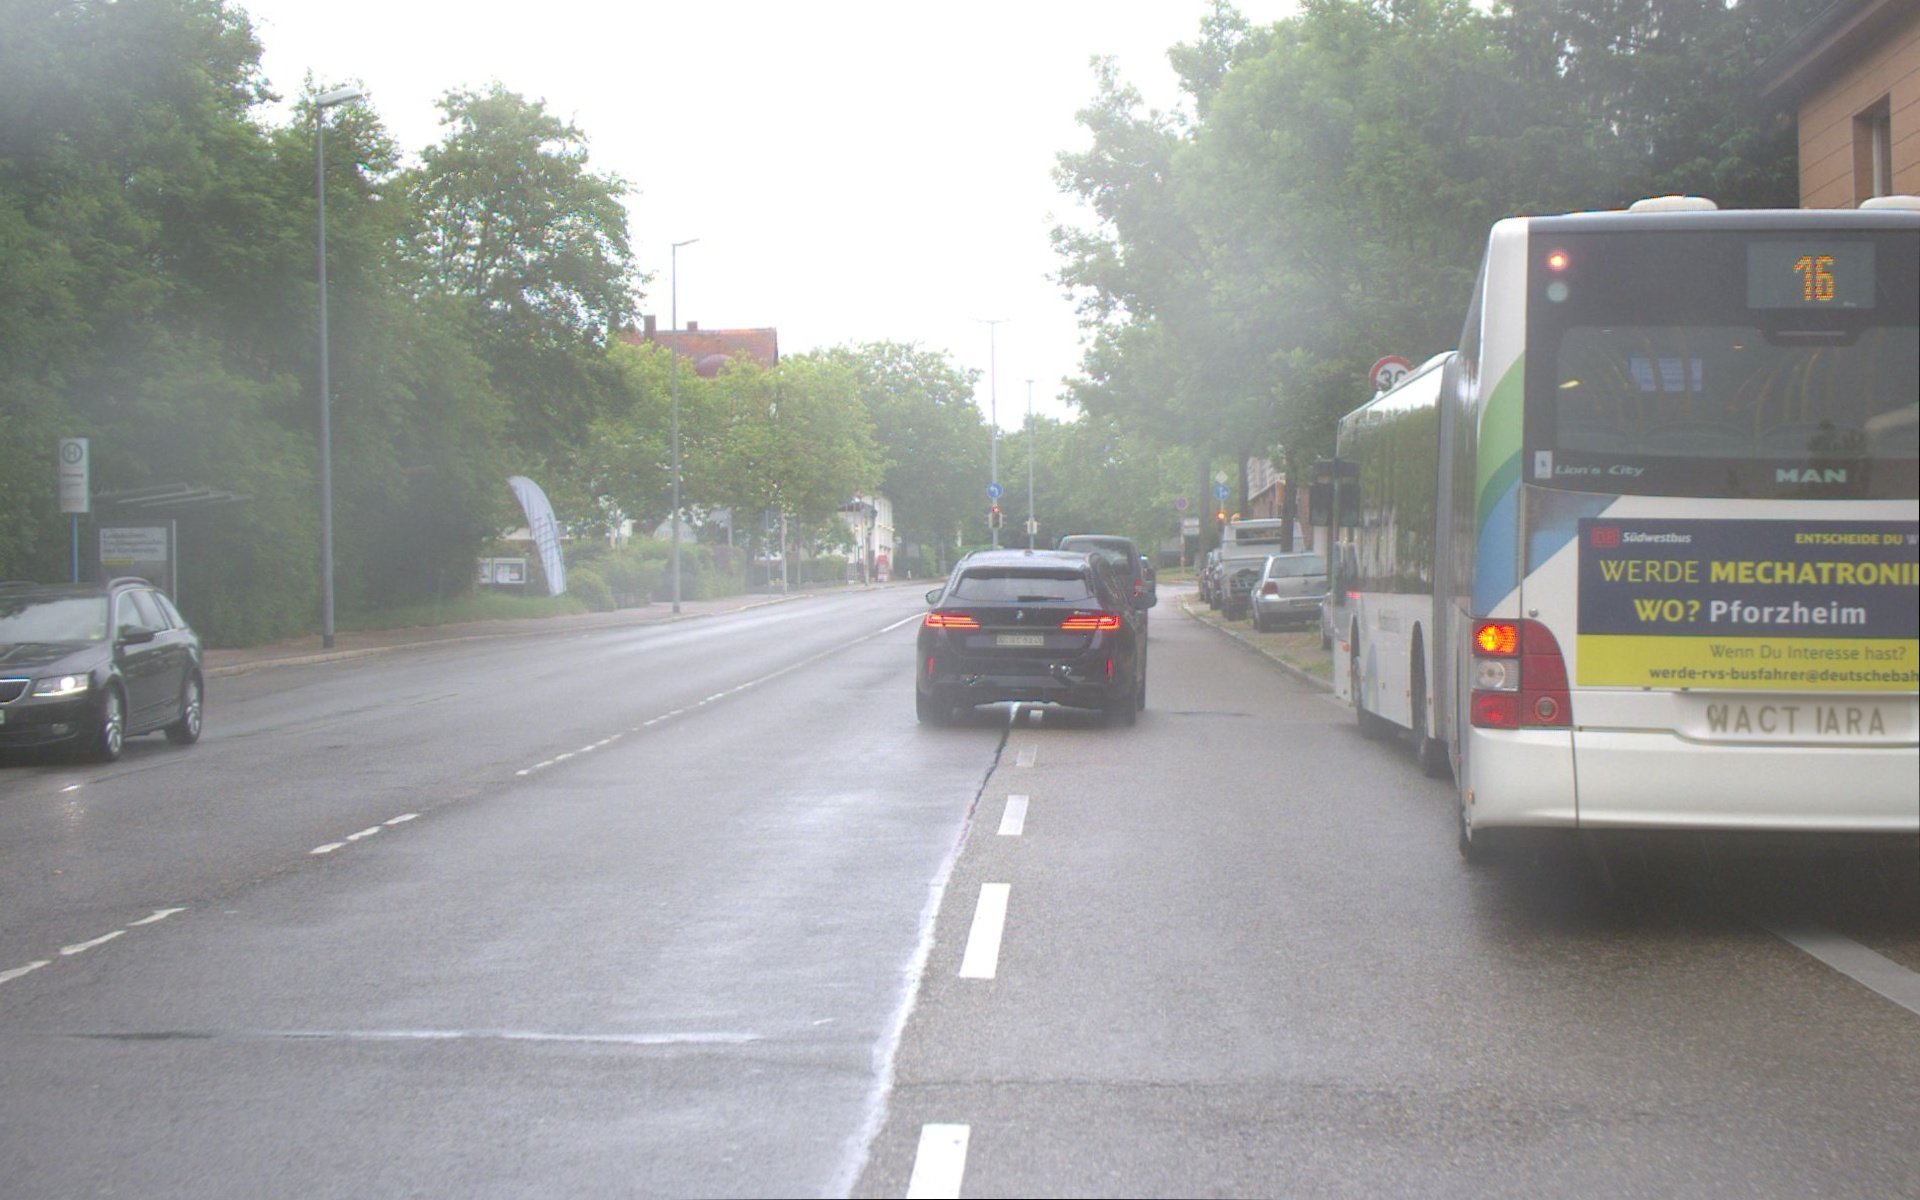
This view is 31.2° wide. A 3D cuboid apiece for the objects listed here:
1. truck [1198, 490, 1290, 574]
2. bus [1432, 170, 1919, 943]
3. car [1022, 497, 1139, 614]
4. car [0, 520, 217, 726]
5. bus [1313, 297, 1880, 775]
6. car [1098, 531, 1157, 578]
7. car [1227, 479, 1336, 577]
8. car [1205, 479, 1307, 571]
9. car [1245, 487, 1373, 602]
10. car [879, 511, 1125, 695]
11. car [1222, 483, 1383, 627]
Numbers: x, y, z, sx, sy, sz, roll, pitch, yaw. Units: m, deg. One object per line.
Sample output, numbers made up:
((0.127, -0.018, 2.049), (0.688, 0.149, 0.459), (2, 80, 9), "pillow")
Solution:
((7.067, -1.716, 85.949), (1.993, 2.006, 4.000), (0, 2, 1), "truck")
((3.687, -0.277, 16.802), (2.624, 2.837, 8.287), (-1, 2, 7), "bus")
((2.153, -0.816, 61.410), (1.993, 2.007, 4.000), (1, 1, 2), "car")
((-7.436, 0.140, 28.088), (1.770, 1.528, 4.000), (-1, 2, 1), "car")
((4.350, -0.518, 25.686), (2.623, 2.837, 9.794), (-1, 2, 2), "bus")
((5.724, -1.580, 117.737), (1.865, 1.513, 4.000), (0, 2, 1), "car")
((6.824, -1.558, 73.264), (1.993, 2.006, 4.000), (0, 2, 1), "car")
((6.660, -1.726, 77.764), (1.993, 2.006, 4.000), (0, 2, 1), "car")
((6.392, -1.055, 63.323), (1.993, 2.006, 4.000), (0, 2, 1), "car")
((0.391, -0.024, 30.791), (1.993, 1.448, 4.000), (3, 2, 1), "car")
((4.990, -0.699, 50.558), (1.993, 2.006, 4.000), (0, 2, 1), "car")
